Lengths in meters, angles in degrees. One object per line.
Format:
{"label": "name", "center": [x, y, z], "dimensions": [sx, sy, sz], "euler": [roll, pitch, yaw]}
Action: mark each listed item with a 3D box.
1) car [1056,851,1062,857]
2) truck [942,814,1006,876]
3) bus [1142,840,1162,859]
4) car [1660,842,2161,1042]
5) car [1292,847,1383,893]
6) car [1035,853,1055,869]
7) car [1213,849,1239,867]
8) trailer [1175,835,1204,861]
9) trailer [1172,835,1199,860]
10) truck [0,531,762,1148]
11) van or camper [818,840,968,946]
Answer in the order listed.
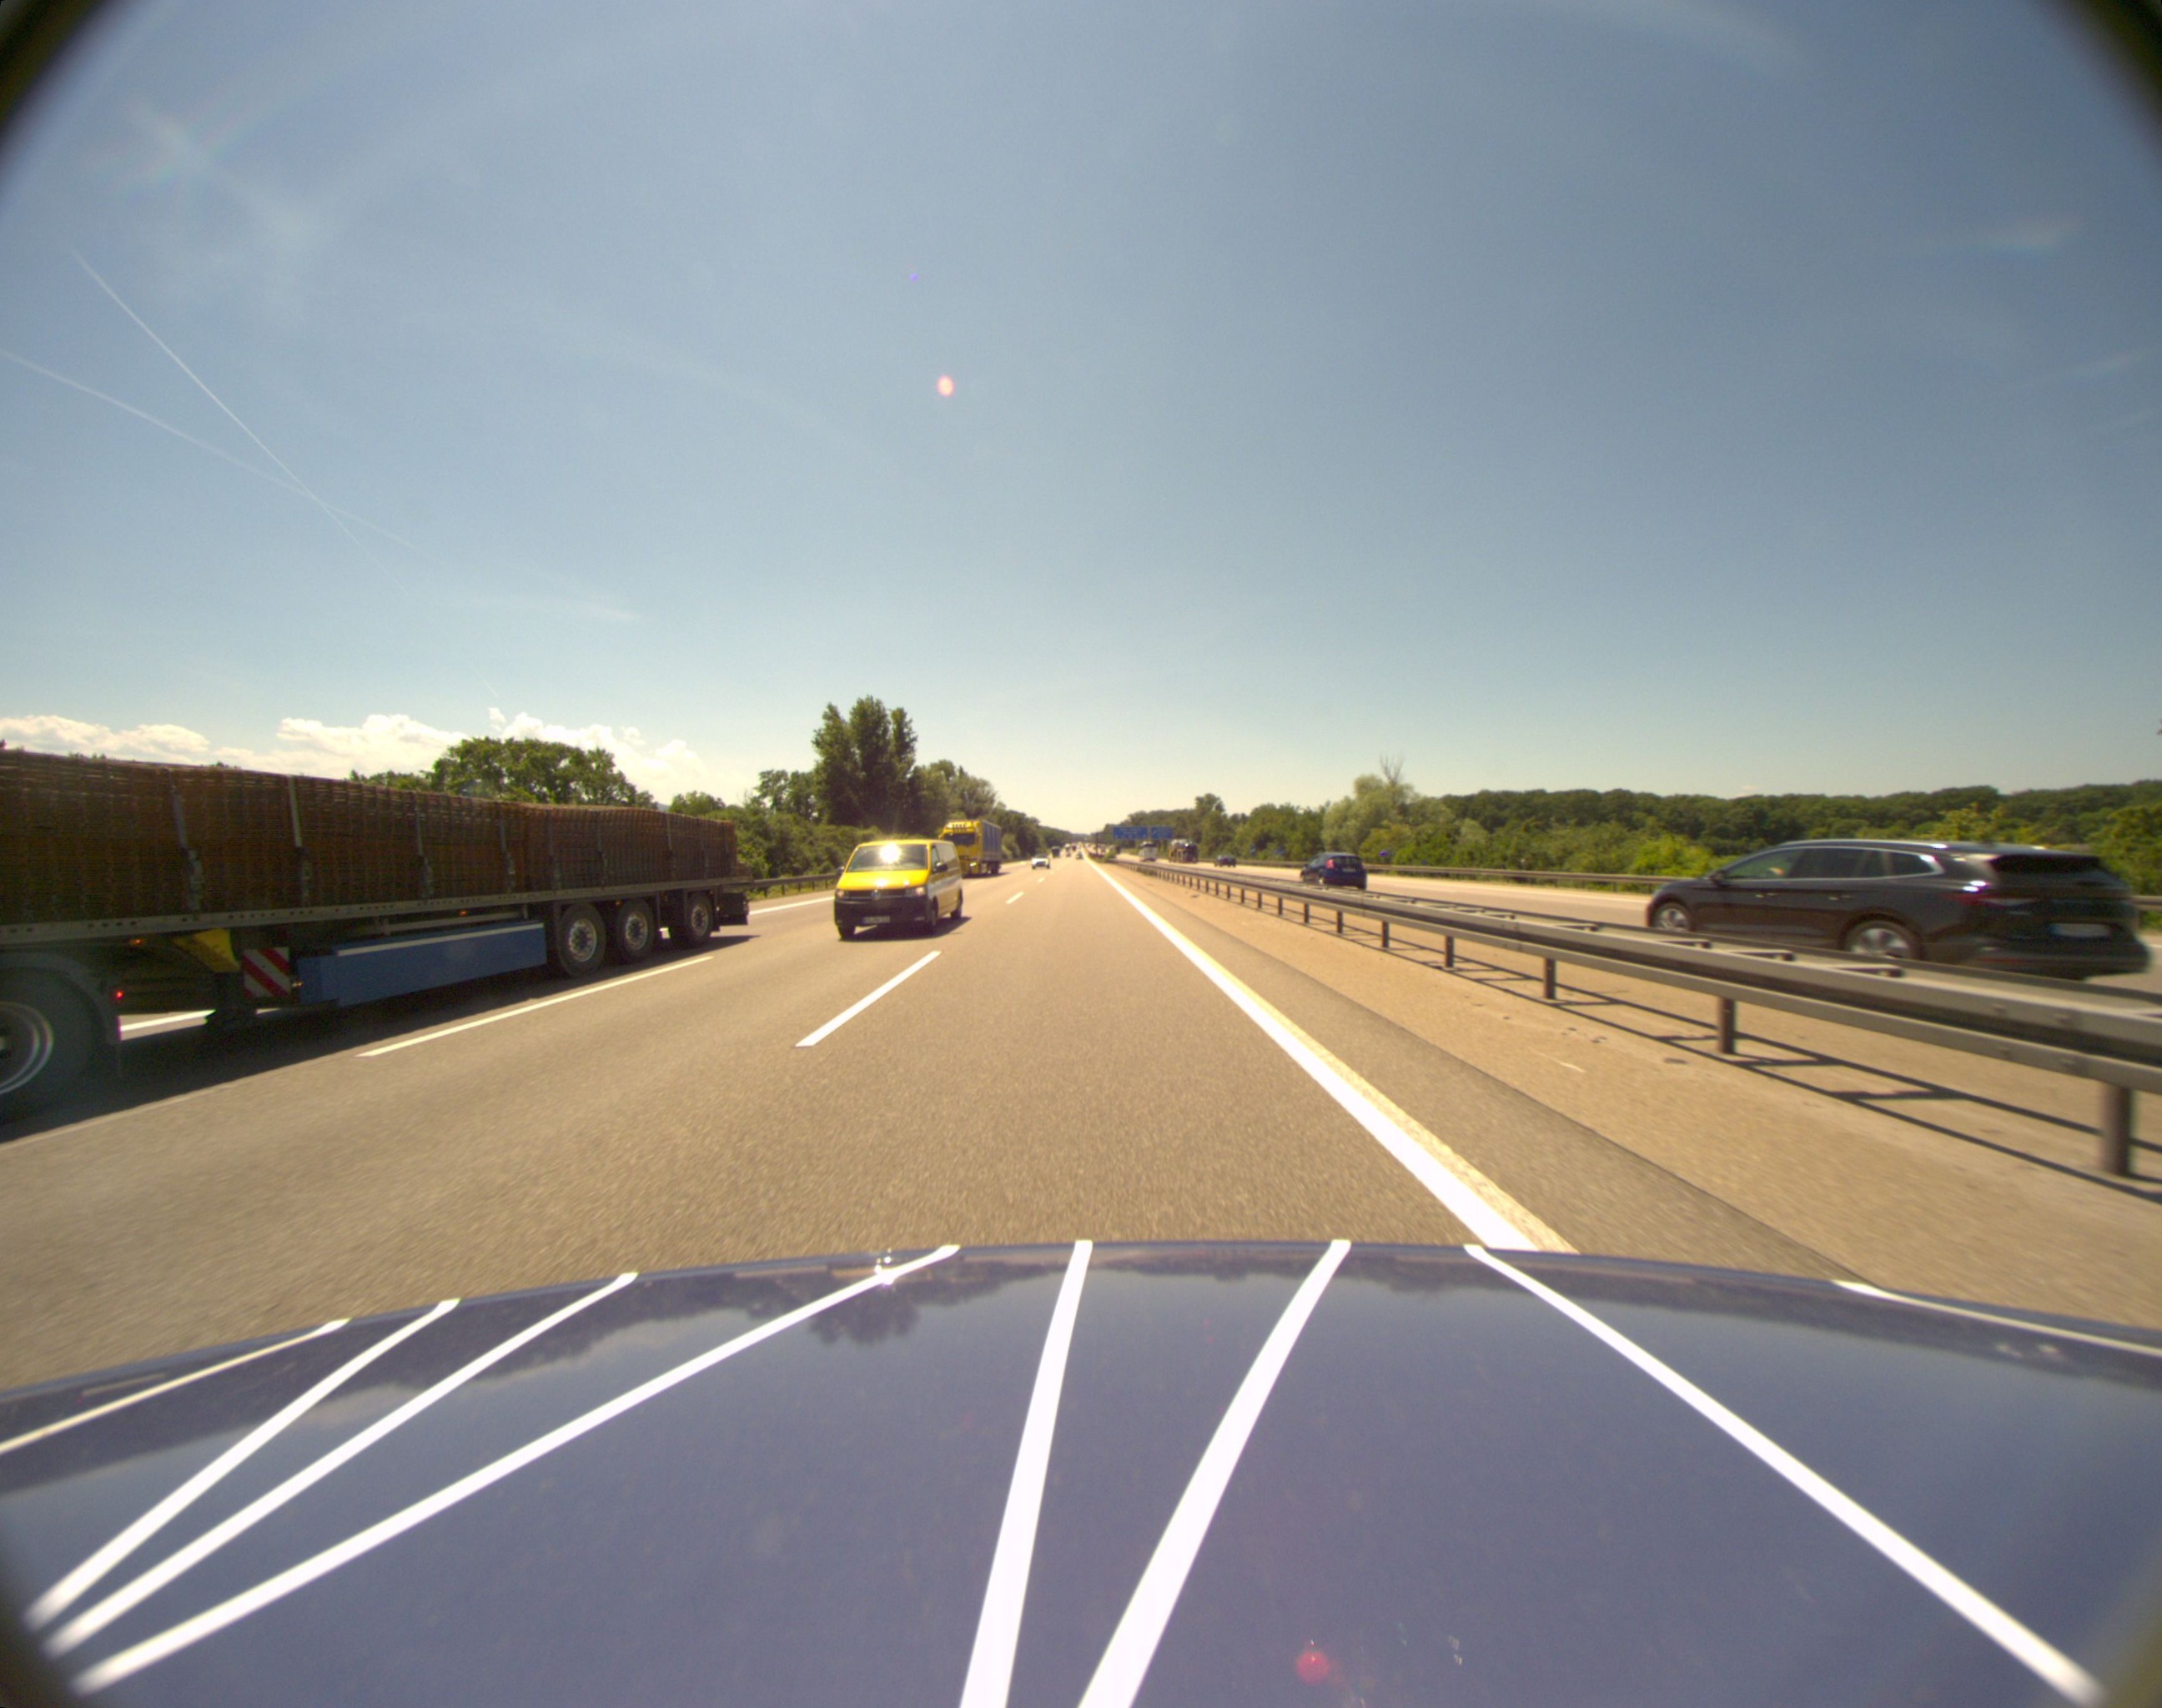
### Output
{"label": "car", "center": [-7.389, -0.097, 251.948], "dimensions": [1.999, 2.002, 3.999], "euler": [0, 0, -1]}
{"label": "truck", "center": [-8.166, -0.746, 60.507], "dimensions": [2.852, 4.233, 16.787], "euler": [-1, 1, 0]}
{"label": "bus", "center": [13.741, -0.891, 147.643], "dimensions": [2.701, 3.563, 12.791], "euler": [1, 0, 0]}
{"label": "car", "center": [9.262, 0.723, 8.630], "dimensions": [1.998, 1.680, 4.407], "euler": [0, 1, 0]}
{"label": "car", "center": [9.975, 0.563, 29.947], "dimensions": [1.998, 1.595, 4.599], "euler": [1, 1, 0]}
{"label": "car", "center": [-3.763, 0.710, 80.341], "dimensions": [1.845, 1.565, 3.999], "euler": [-2, 1, 1]}
{"label": "car", "center": [16.681, 0.435, 87.523], "dimensions": [1.999, 1.861, 4.580], "euler": [3, 1, -1]}
{"label": "trailer", "center": [17.265, -0.953, 122.133], "dimensions": [2.929, 3.945, 11.649], "euler": [1, 0, 0]}
{"label": "trailer", "center": [17.272, -1.036, 126.689], "dimensions": [2.929, 3.945, 10.534], "euler": [1, 0, 0]}
{"label": "truck", "center": [-8.399, -0.111, 8.058], "dimensions": [2.977, 3.934, 16.608], "euler": [-2, 1, 0]}
{"label": "van or camper", "center": [-3.887, 0.715, 16.700], "dimensions": [1.999, 1.898, 4.970], "euler": [-2, 0, 0]}
